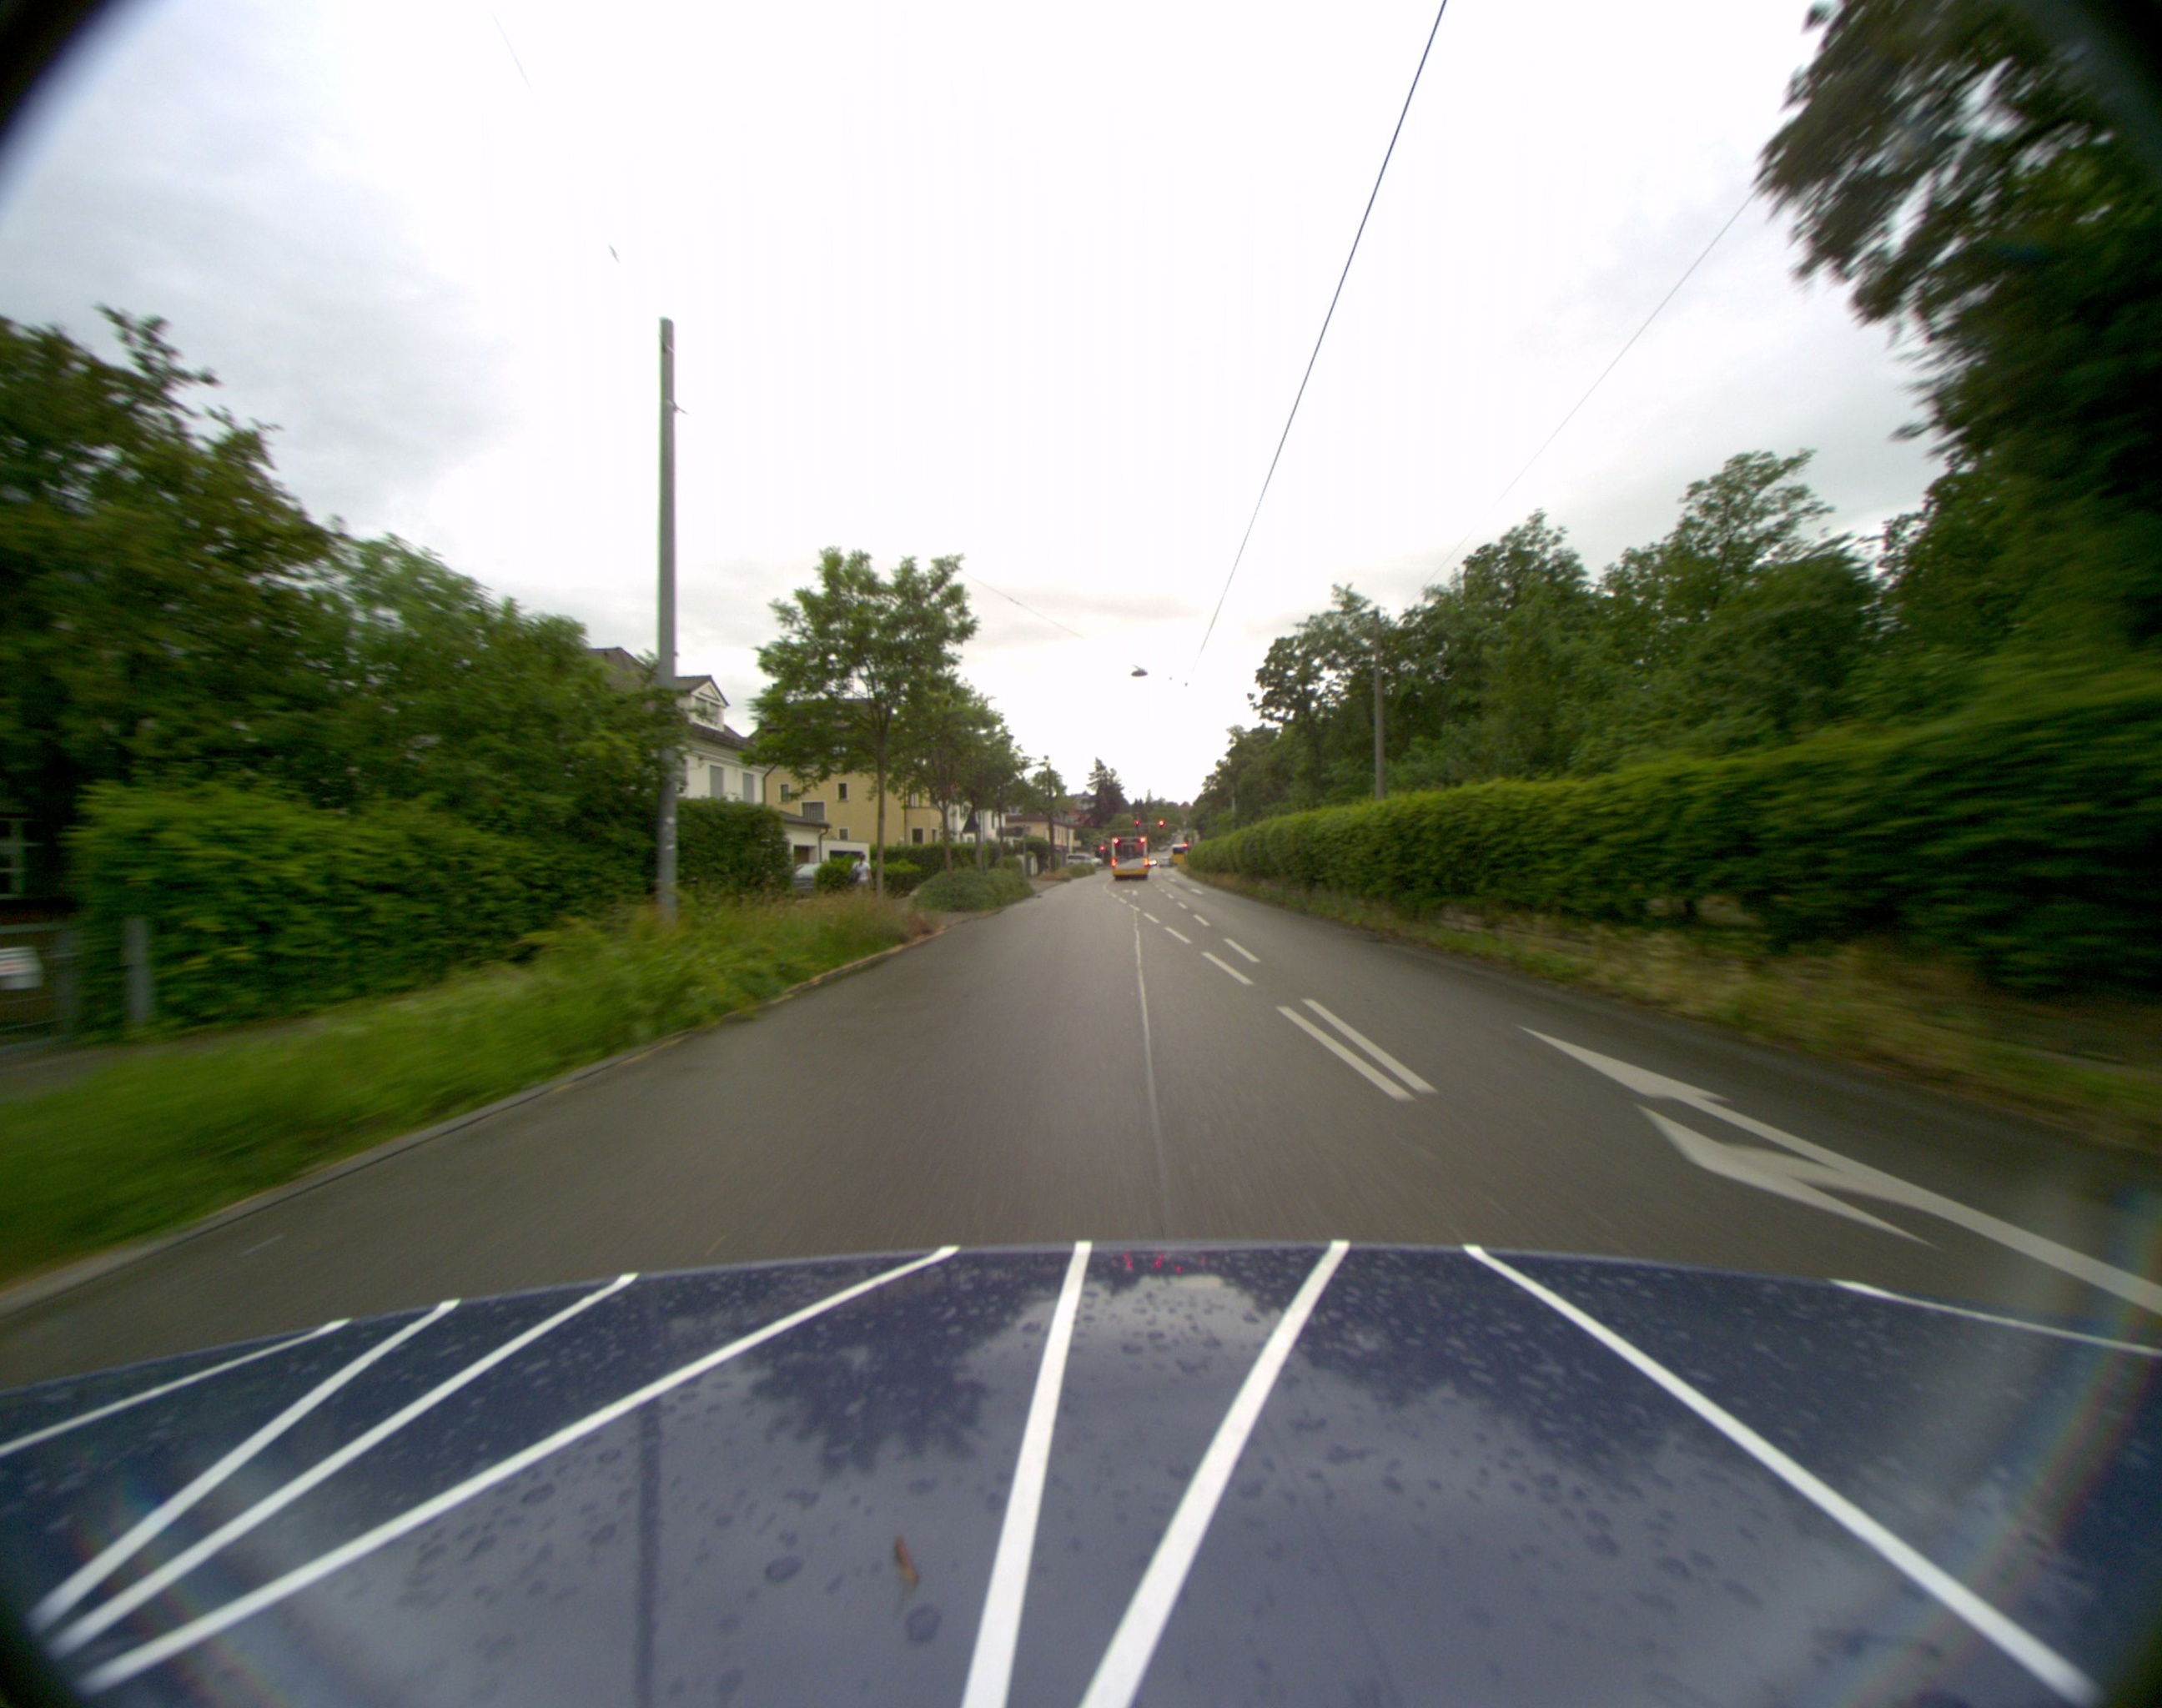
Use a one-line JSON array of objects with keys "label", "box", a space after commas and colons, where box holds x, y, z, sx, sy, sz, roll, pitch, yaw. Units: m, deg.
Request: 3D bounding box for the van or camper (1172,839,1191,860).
[{"label": "van or camper", "box": [15.588, -0.710, 118.171, 2.736, 3.207, 6.979, -2, 0, 8]}]

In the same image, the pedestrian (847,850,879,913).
[{"label": "pedestrian", "box": [-6.214, 0.774, 21.681, 0.634, 1.722, 0.714, -1, 2, 4]}]

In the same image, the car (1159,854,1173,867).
[{"label": "car", "box": [12.708, 0.932, 112.863, 1.783, 1.878, 3.791, -2, 0, 10]}]

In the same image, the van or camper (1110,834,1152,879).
[{"label": "van or camper", "box": [3.866, 0.160, 57.806, 2.862, 3.160, 6.852, -2, 0, 5]}]

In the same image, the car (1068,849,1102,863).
[{"label": "car", "box": [0.634, 0.251, 118.950, 5.048, 1.967, 2.001, -2, 1, 7]}]

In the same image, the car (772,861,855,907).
[{"label": "car", "box": [-9.343, 1.016, 26.788, 1.473, 1.411, 3.476, -2, 0, 3]}]
